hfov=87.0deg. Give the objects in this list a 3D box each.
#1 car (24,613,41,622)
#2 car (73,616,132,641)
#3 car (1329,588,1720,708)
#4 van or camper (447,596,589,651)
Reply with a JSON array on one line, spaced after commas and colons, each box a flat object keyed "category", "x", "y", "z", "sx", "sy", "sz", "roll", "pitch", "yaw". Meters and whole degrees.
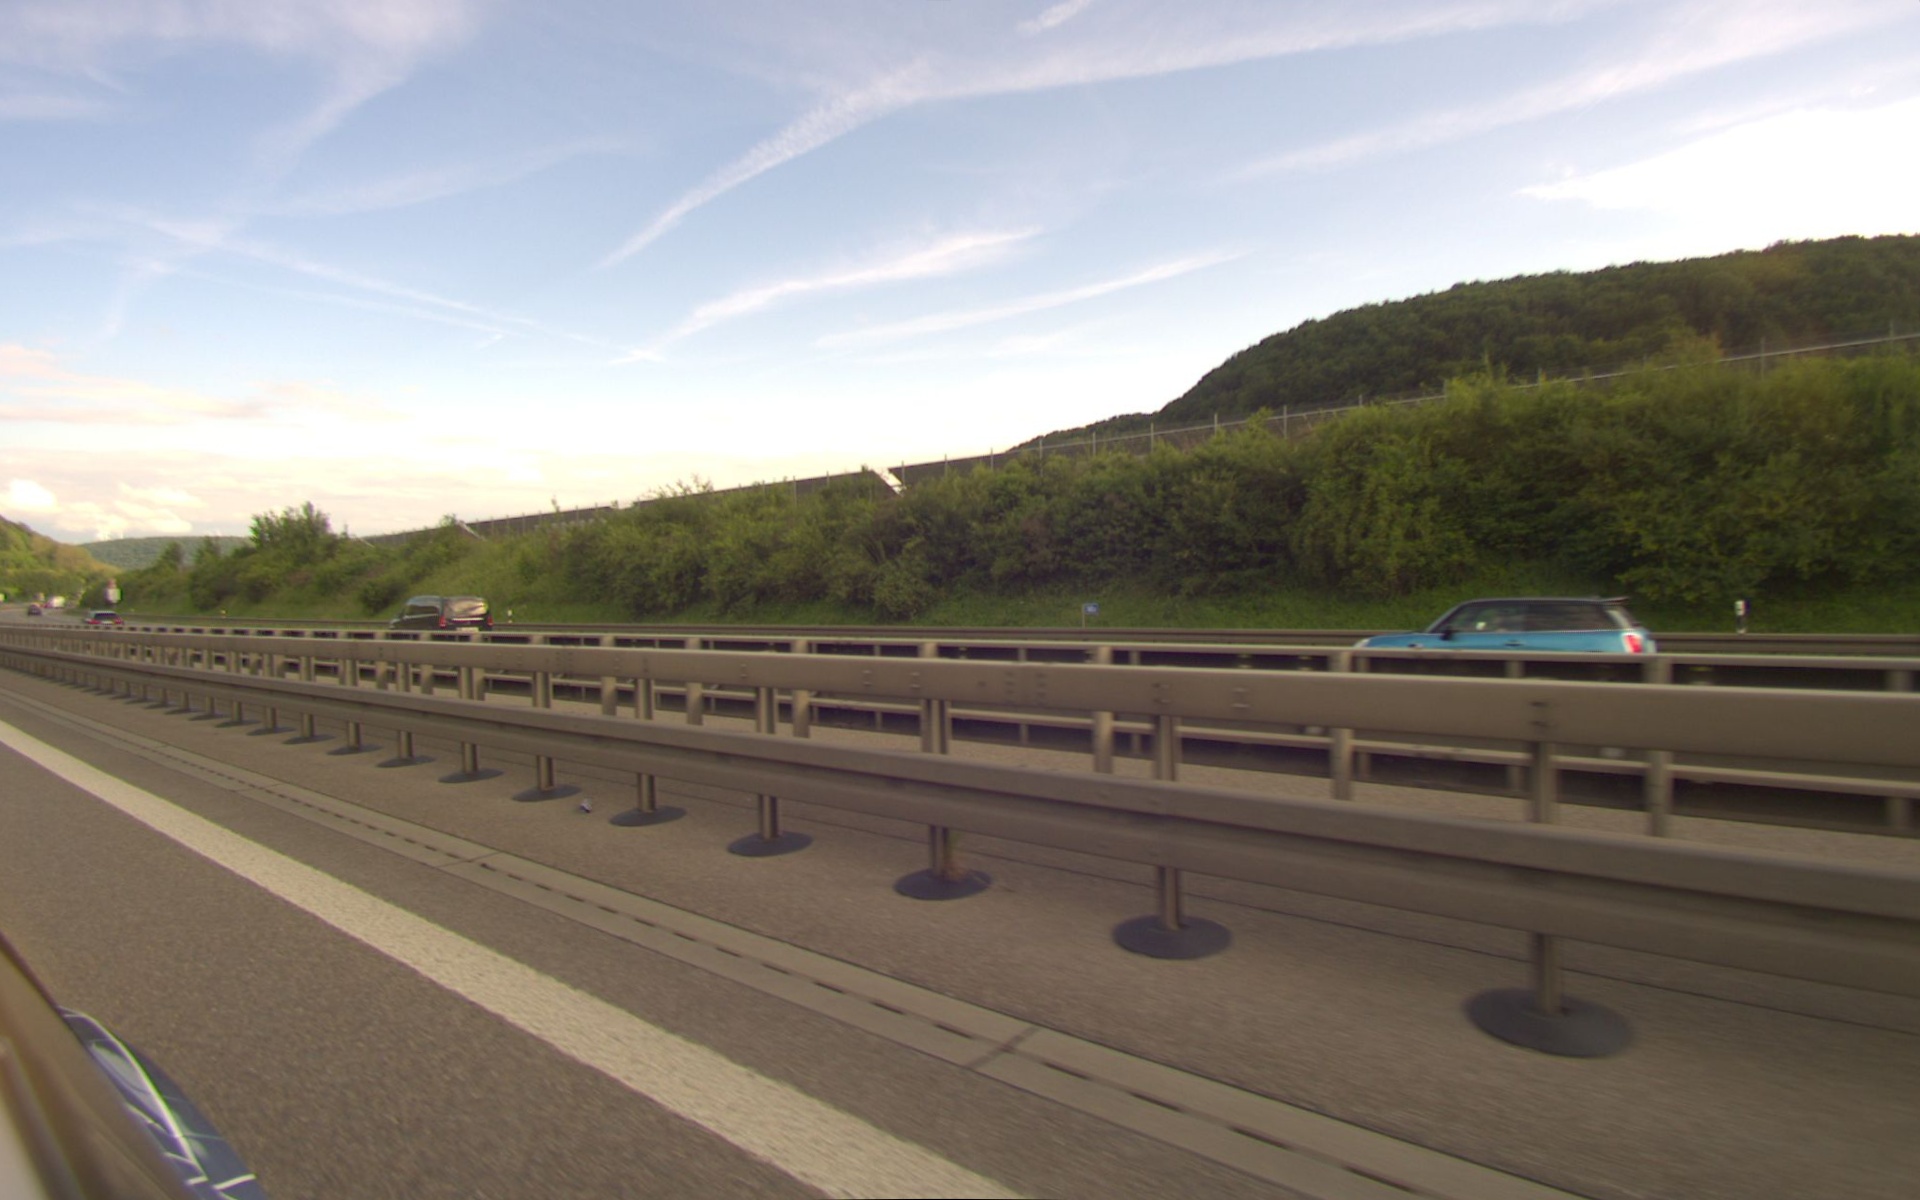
[{"category": "car", "x": -150.232, "y": 2.839, "z": 163.877, "sx": 4.000, "sy": 1.426, "sz": 1.688, "roll": 0, "pitch": 0, "yaw": 43}, {"category": "car", "x": -53.172, "y": 1.723, "z": 62.748, "sx": 4.582, "sy": 1.441, "sz": 1.974, "roll": 0, "pitch": 1, "yaw": 39}, {"category": "car", "x": 7.512, "y": 0.605, "z": 13.692, "sx": 4.351, "sy": 1.364, "sz": 1.974, "roll": -1, "pitch": -2, "yaw": 39}, {"category": "van or camper", "x": -14.446, "y": 0.775, "z": 32.904, "sx": 5.448, "sy": 1.673, "sz": 1.974, "roll": -1, "pitch": -2, "yaw": 39}]
